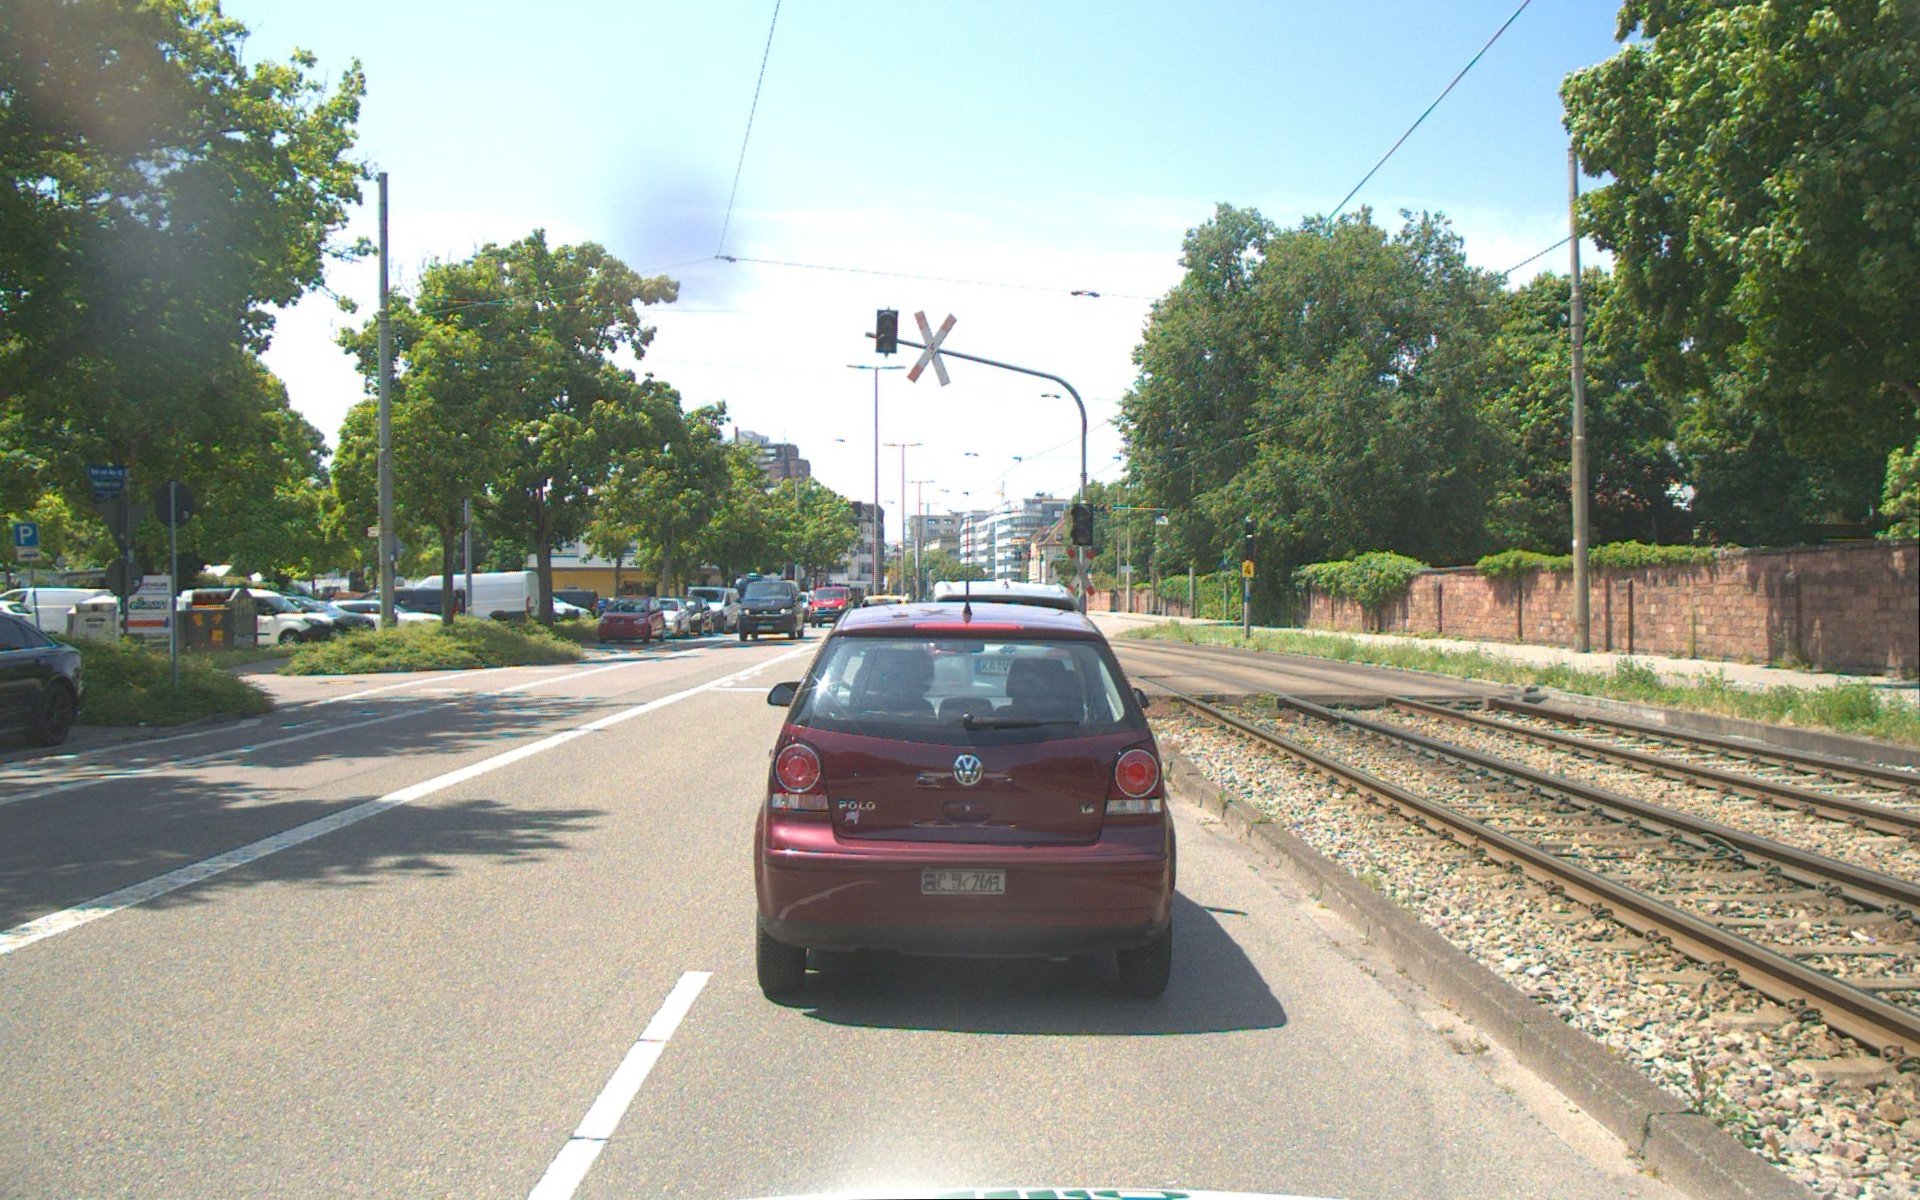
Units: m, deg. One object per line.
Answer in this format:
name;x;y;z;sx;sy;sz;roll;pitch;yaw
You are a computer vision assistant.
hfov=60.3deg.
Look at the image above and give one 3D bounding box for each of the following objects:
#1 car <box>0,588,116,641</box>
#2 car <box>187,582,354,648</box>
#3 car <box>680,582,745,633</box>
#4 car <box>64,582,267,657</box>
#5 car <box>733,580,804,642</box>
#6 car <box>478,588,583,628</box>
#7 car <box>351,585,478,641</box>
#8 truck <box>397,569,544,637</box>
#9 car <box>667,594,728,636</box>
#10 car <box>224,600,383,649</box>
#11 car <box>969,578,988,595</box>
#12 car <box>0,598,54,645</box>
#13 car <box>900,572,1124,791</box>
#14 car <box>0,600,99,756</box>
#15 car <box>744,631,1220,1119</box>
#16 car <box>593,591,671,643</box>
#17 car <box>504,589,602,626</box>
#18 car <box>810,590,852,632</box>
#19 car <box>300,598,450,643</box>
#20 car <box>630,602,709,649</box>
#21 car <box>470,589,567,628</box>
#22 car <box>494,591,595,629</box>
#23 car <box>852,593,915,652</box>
car;-32.937;0.520;59.591;4.044;1.852;1.970;0;0;-1
car;-20.255;0.433;48.684;4.178;1.867;1.673;-1;0;1
car;-10.493;0.300;70.539;1.824;1.971;4.806;3;0;2
car;-20.975;0.501;43.800;4.361;1.889;2.059;-1;0;-5
car;-6.370;0.349;55.410;1.879;1.944;4.570;-1;0;-1
car;-21.006;0.383;81.013;4.623;1.845;1.796;-1;0;-2
car;-20.445;0.477;62.106;4.125;2.030;1.856;-1;0;-2
truck;-20.663;0.116;69.978;5.463;2.808;2.432;-1;0;0
car;-10.285;0.571;65.032;1.581;1.510;3.785;3;0;2
car;-20.342;0.744;51.402;4.114;1.428;2.079;-1;0;-5
car;2.186;-1.594;198.021;1.881;1.944;4.566;-1;0;-5
car;-33.738;0.737;57.321;3.670;1.603;1.732;0;0;-1
car;0.402;0.638;15.160;1.758;1.712;4.000;1;0;0
car;-10.226;0.760;15.618;1.856;1.482;4.807;1;0;-3
car;0.045;0.965;7.551;1.577;1.524;3.999;1;0;-1
car;-10.541;0.545;53.318;1.637;1.573;3.727;1;0;2
car;-21.049;0.388;85.729;4.623;1.845;1.796;-1;0;-2
car;-6.376;0.523;82.047;1.861;1.959;4.818;-1;0;-2
car;-20.953;0.715;59.383;4.665;1.514;2.057;-1;0;-2
car;-10.481;0.884;59.942;1.683;1.451;4.773;-4;0;3
car;-20.994;0.413;78.706;4.125;1.796;1.856;-1;0;-2
car;-20.862;0.471;83.228;4.623;1.845;1.796;-1;0;-2
car;-1.962;0.555;43.148;1.520;1.473;3.411;1;0;-1
